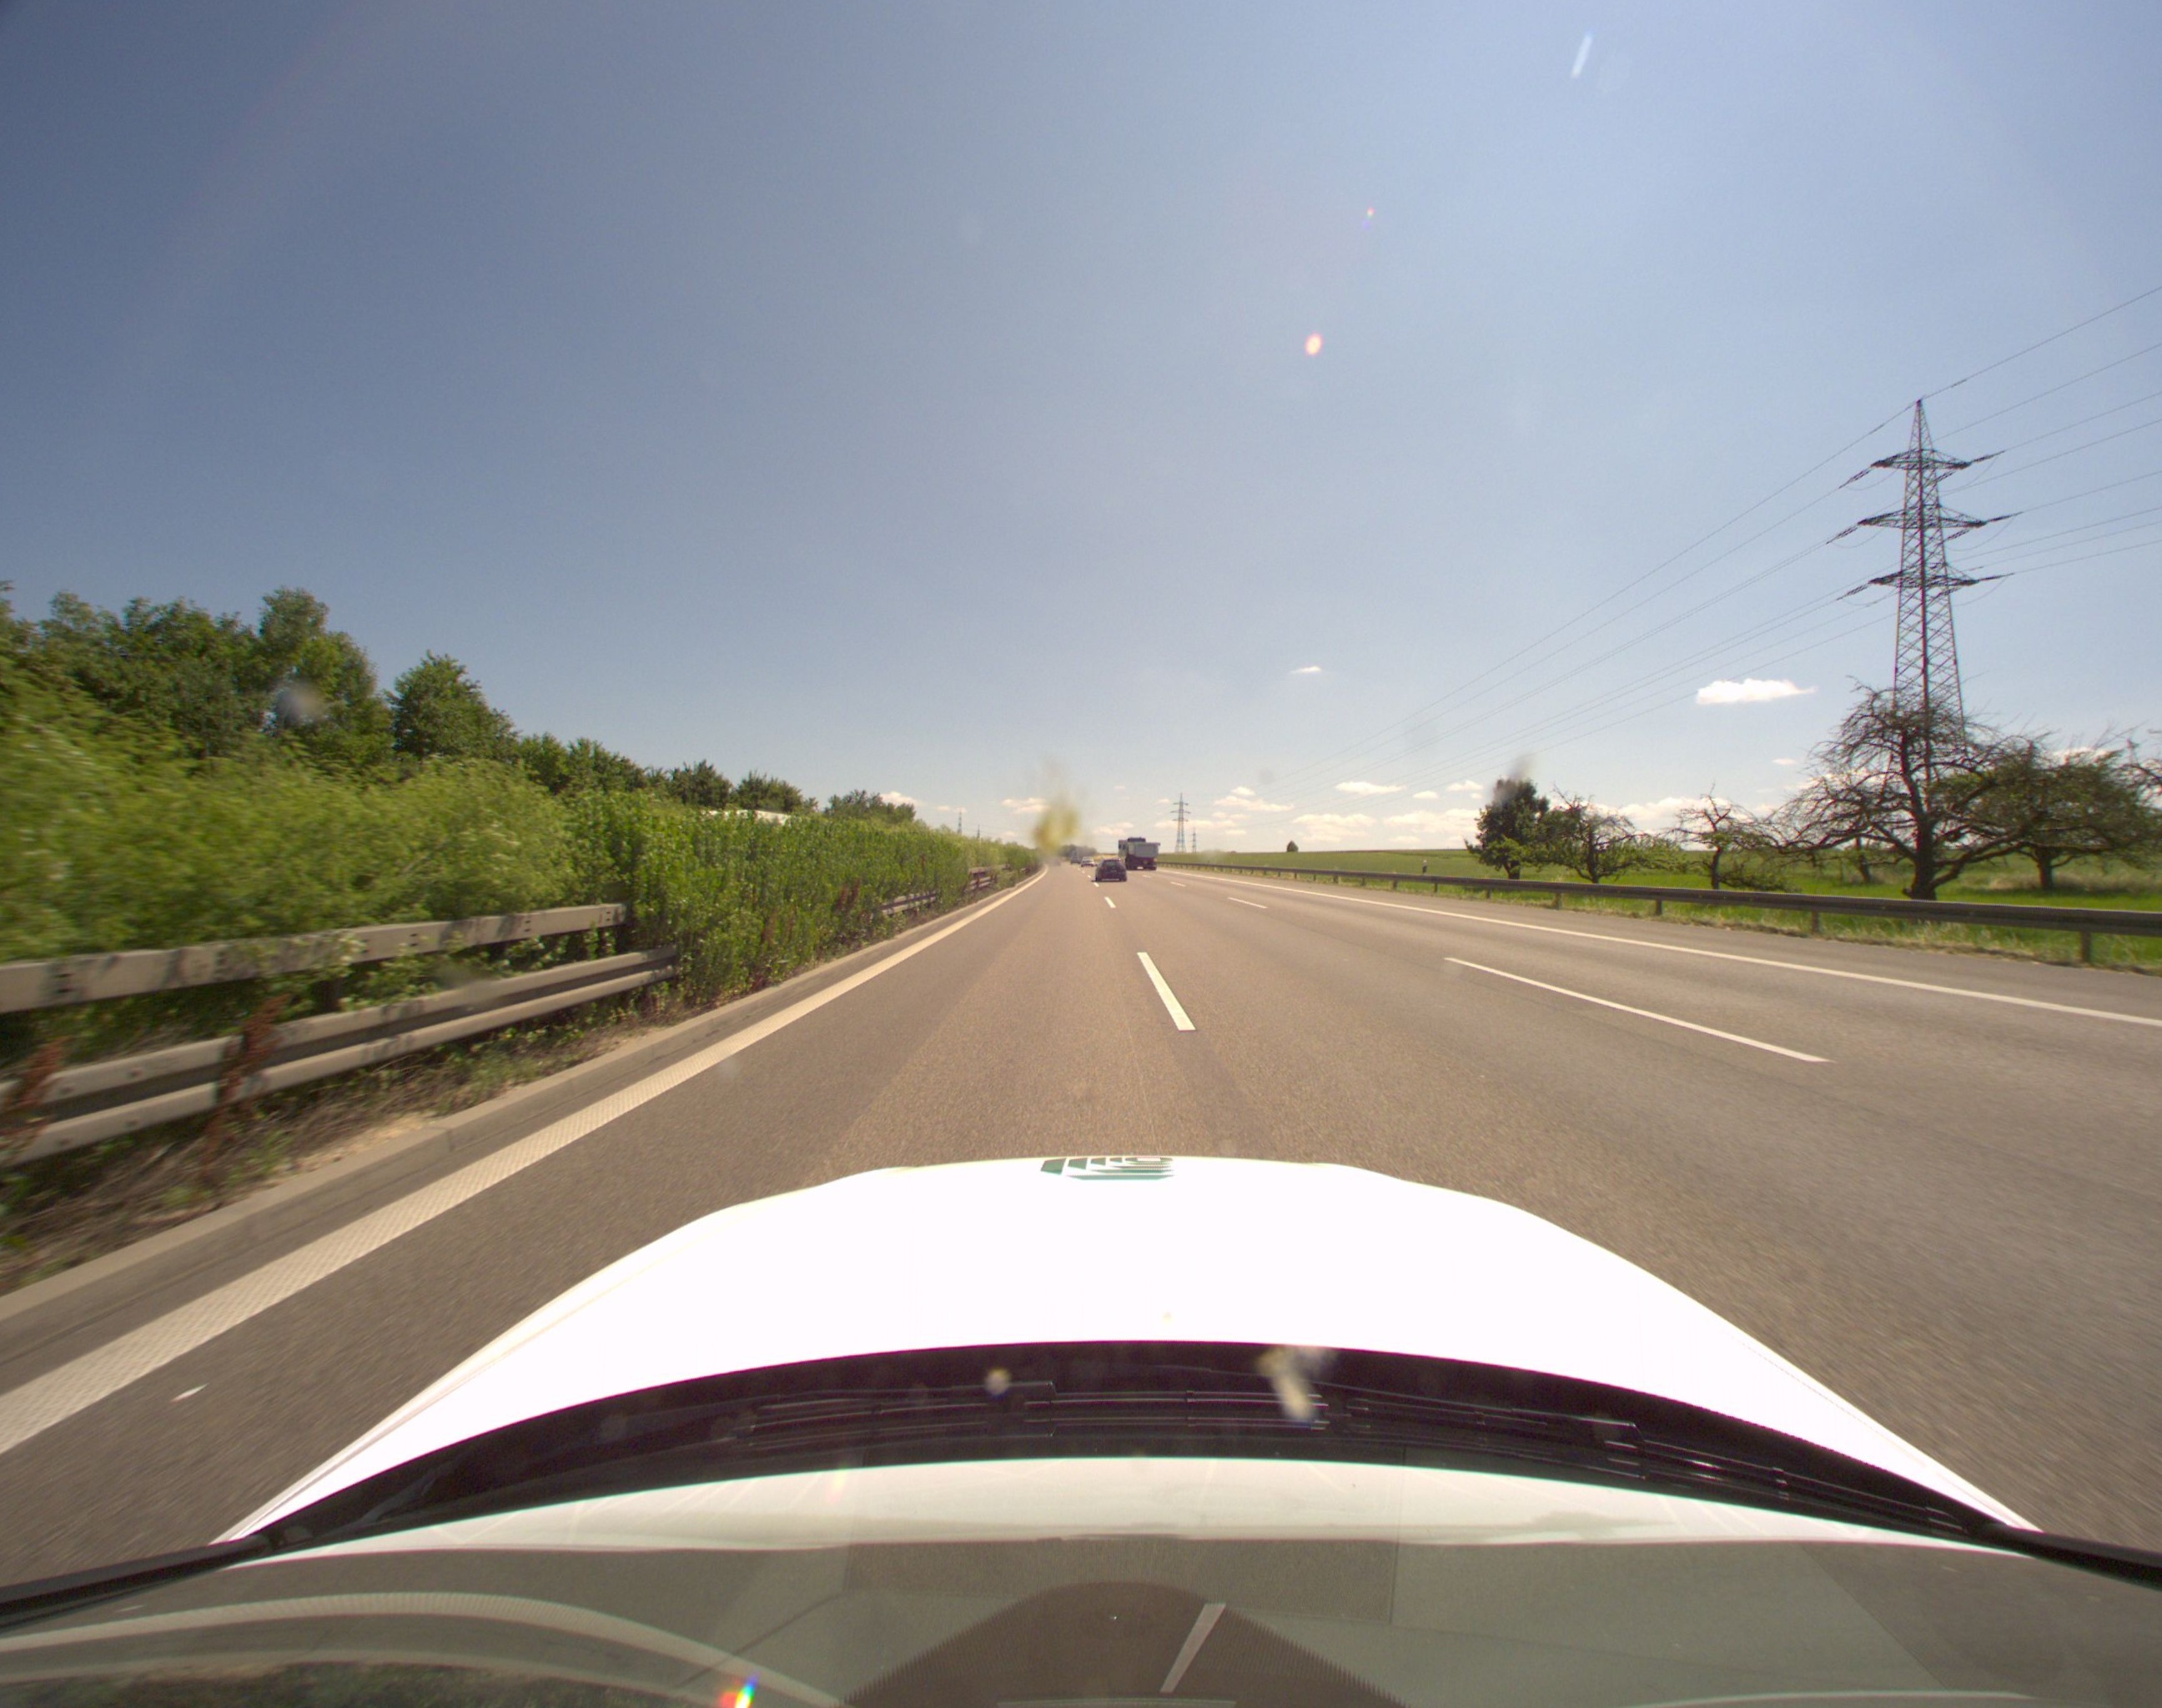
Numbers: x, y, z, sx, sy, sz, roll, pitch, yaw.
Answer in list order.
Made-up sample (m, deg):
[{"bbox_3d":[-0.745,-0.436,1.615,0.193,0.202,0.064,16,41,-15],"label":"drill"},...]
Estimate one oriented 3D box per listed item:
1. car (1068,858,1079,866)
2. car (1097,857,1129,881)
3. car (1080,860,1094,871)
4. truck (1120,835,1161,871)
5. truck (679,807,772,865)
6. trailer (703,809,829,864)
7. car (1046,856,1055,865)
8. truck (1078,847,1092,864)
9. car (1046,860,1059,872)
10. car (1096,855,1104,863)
[{"bbox_3d":[-1.417,1.592,156.989,1.835,1.541,3.909,-1,-1,-4],"label":"car"},{"bbox_3d":[1.972,0.948,51.146,1.751,1.429,3.998,-1,0,-1],"label":"car"},{"bbox_3d":[0.833,1.640,117.634,1.816,1.541,3.910,-1,-1,-3],"label":"car"},{"bbox_3d":[6.601,-0.060,92.305,2.859,3.724,12.746,-1,0,-3],"label":"truck"},{"bbox_3d":[-17.910,-0.838,41.355,2.680,2.748,4.644,-1,-1,0],"label":"truck"},{"bbox_3d":[-17.969,-0.842,47.660,2.666,2.801,12.310,-1,0,-1],"label":"trailer"},{"bbox_3d":[-6.734,1.473,178.492,1.897,1.926,3.995,-1,-1,-3],"label":"car"},{"bbox_3d":[0.915,0.336,192.866,3.212,3.924,9.053,0,-1,-2],"label":"truck"},{"bbox_3d":[-4.662,1.915,133.736,1.988,1.860,3.997,0,-1,-2],"label":"car"},{"bbox_3d":[5.018,1.312,213.474,1.987,1.853,3.998,-1,-1,-1],"label":"car"}]
